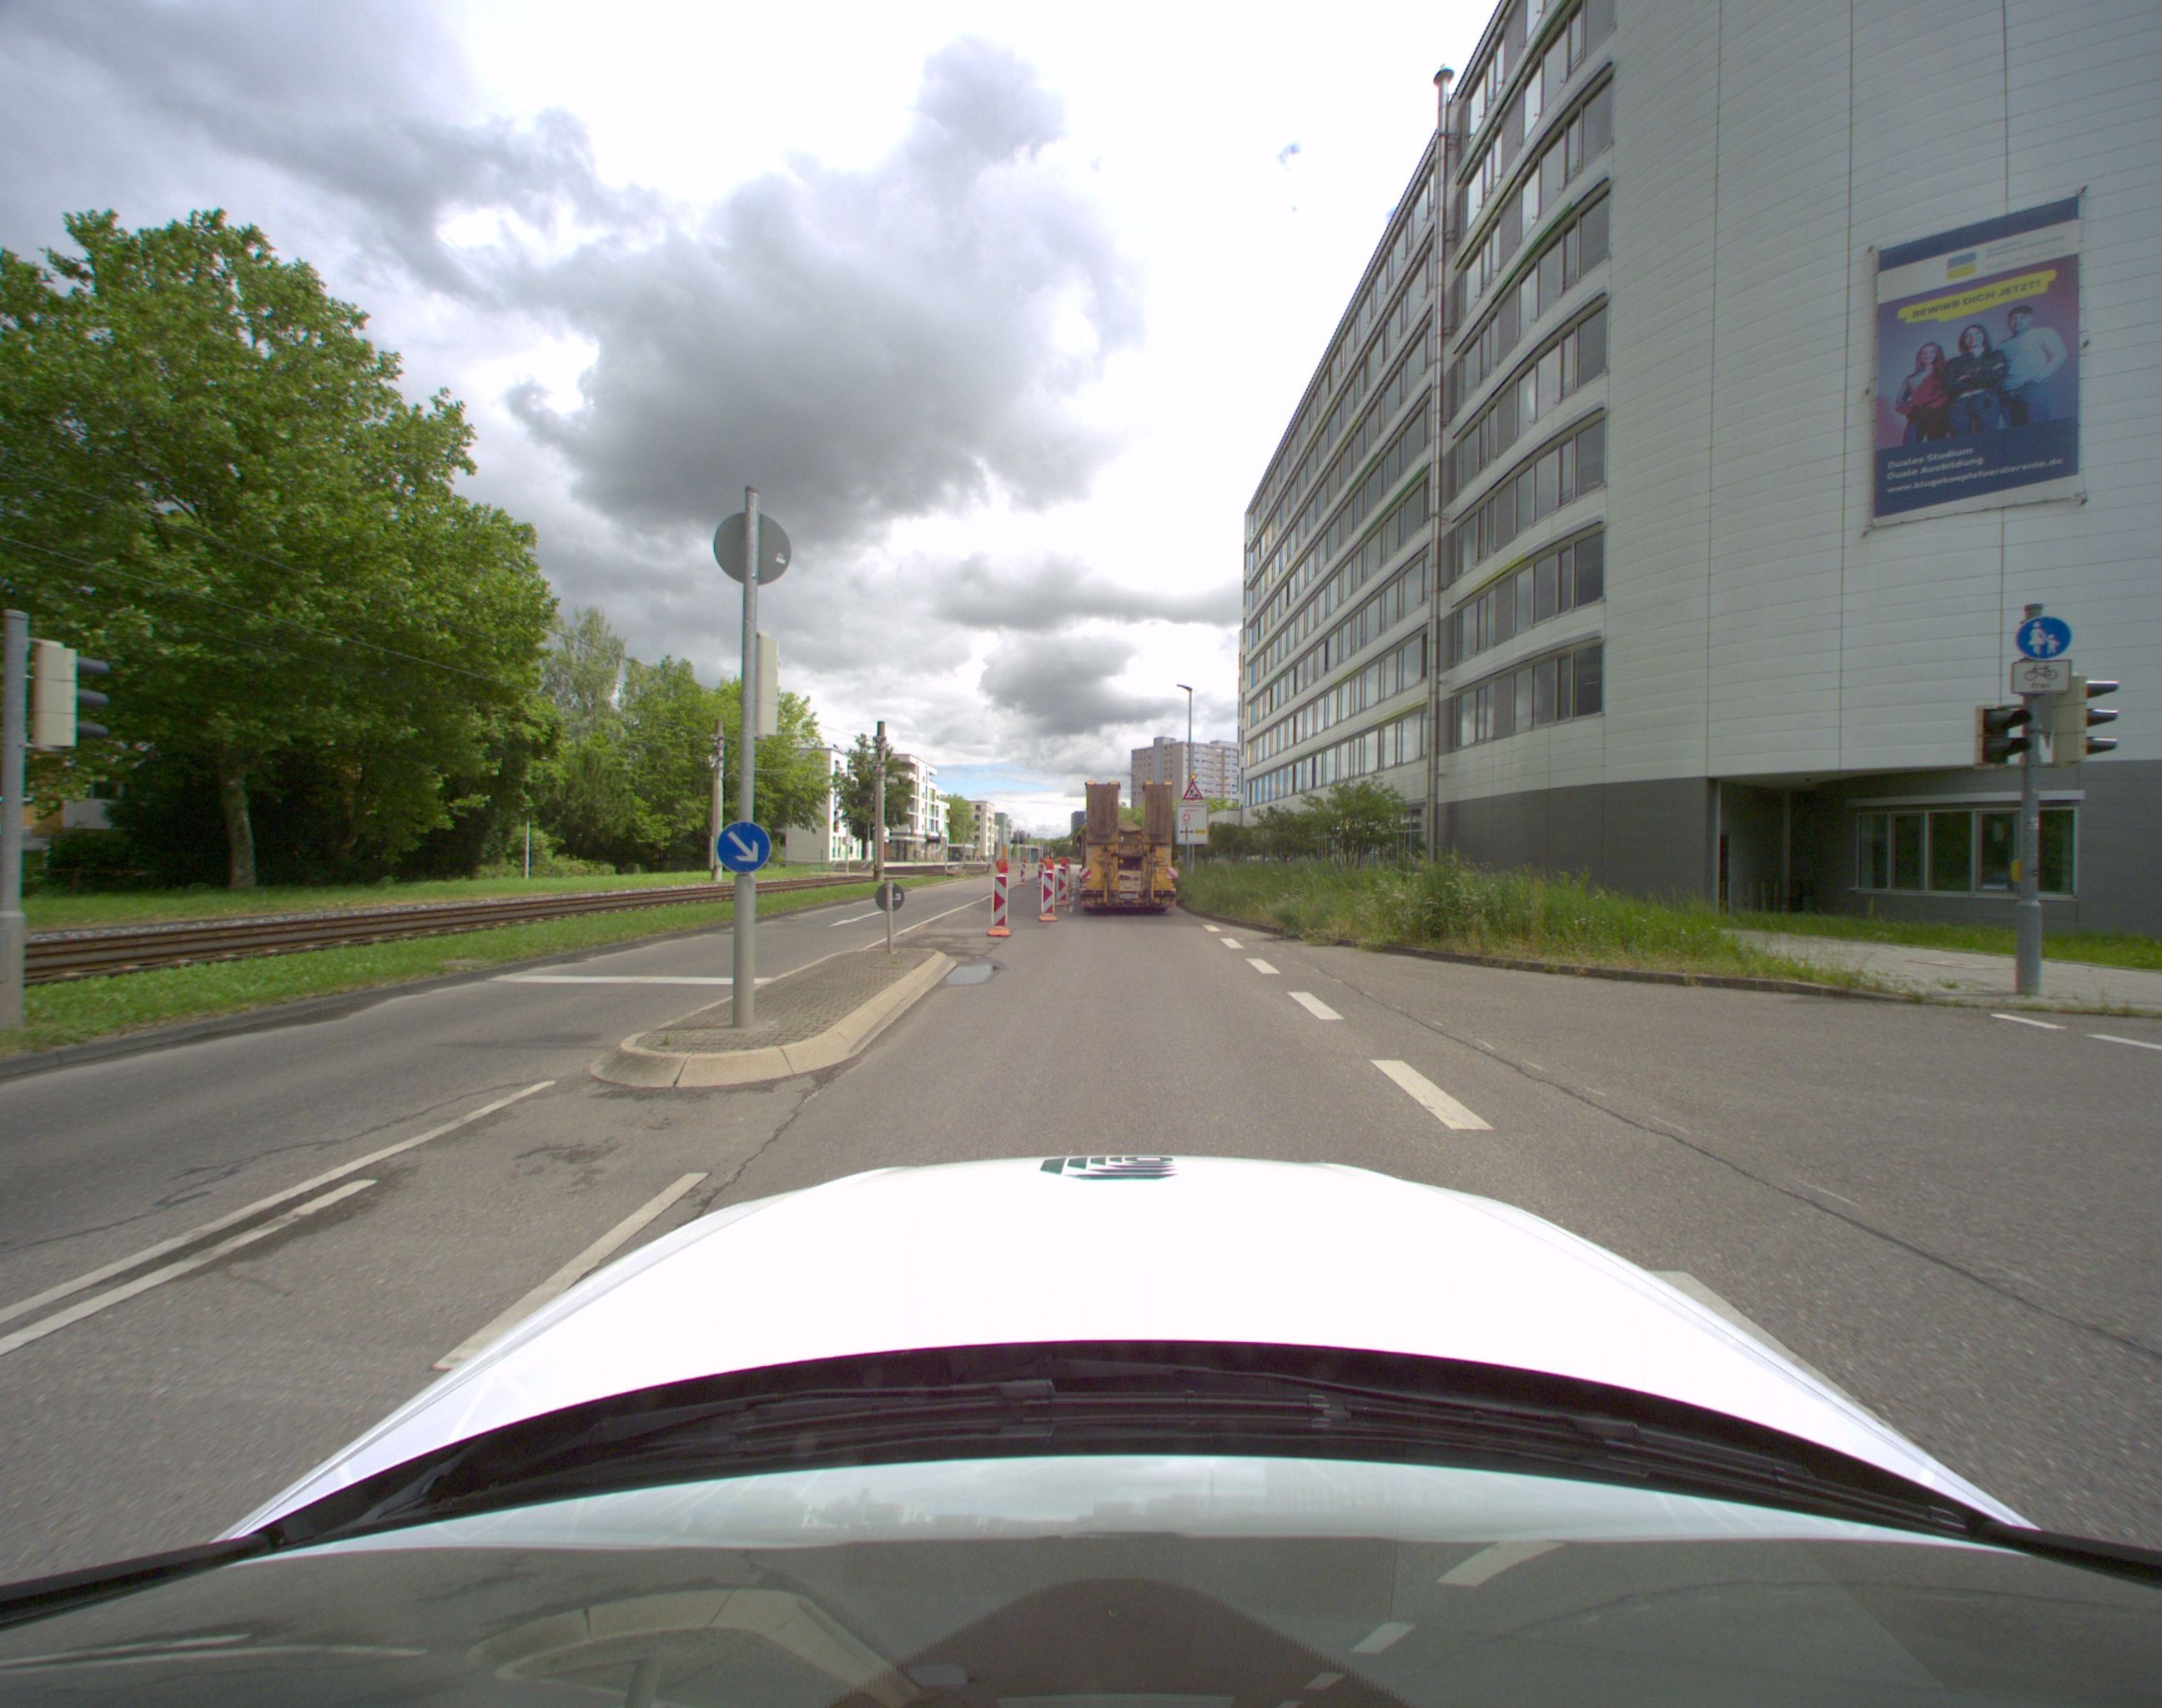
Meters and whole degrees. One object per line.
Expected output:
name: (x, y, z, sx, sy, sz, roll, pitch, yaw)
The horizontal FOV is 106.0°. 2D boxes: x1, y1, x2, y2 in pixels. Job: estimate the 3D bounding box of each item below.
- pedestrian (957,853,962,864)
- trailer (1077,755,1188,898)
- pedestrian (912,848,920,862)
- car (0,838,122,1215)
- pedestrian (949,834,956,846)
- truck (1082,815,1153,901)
pedestrian: (-18.077, 0.686, 121.094, 0.482, 1.597, 0.682, 0, -1, 35)
trailer: (1.375, -0.650, 26.107, 2.720, 3.559, 11.254, 1, 0, 1)
pedestrian: (-19.265, 0.113, 94.972, 0.738, 1.531, 0.547, 1, -1, 3)
car: (-5.547, 0.722, 1.582, 1.854, 1.610, 4.607, 1, 0, 0)
pedestrian: (-18.804, -2.093, 119.245, 0.669, 1.726, 0.492, 1, -4, 39)
truck: (1.472, 0.176, 35.902, 2.744, 3.313, 8.351, 1, 0, 1)
